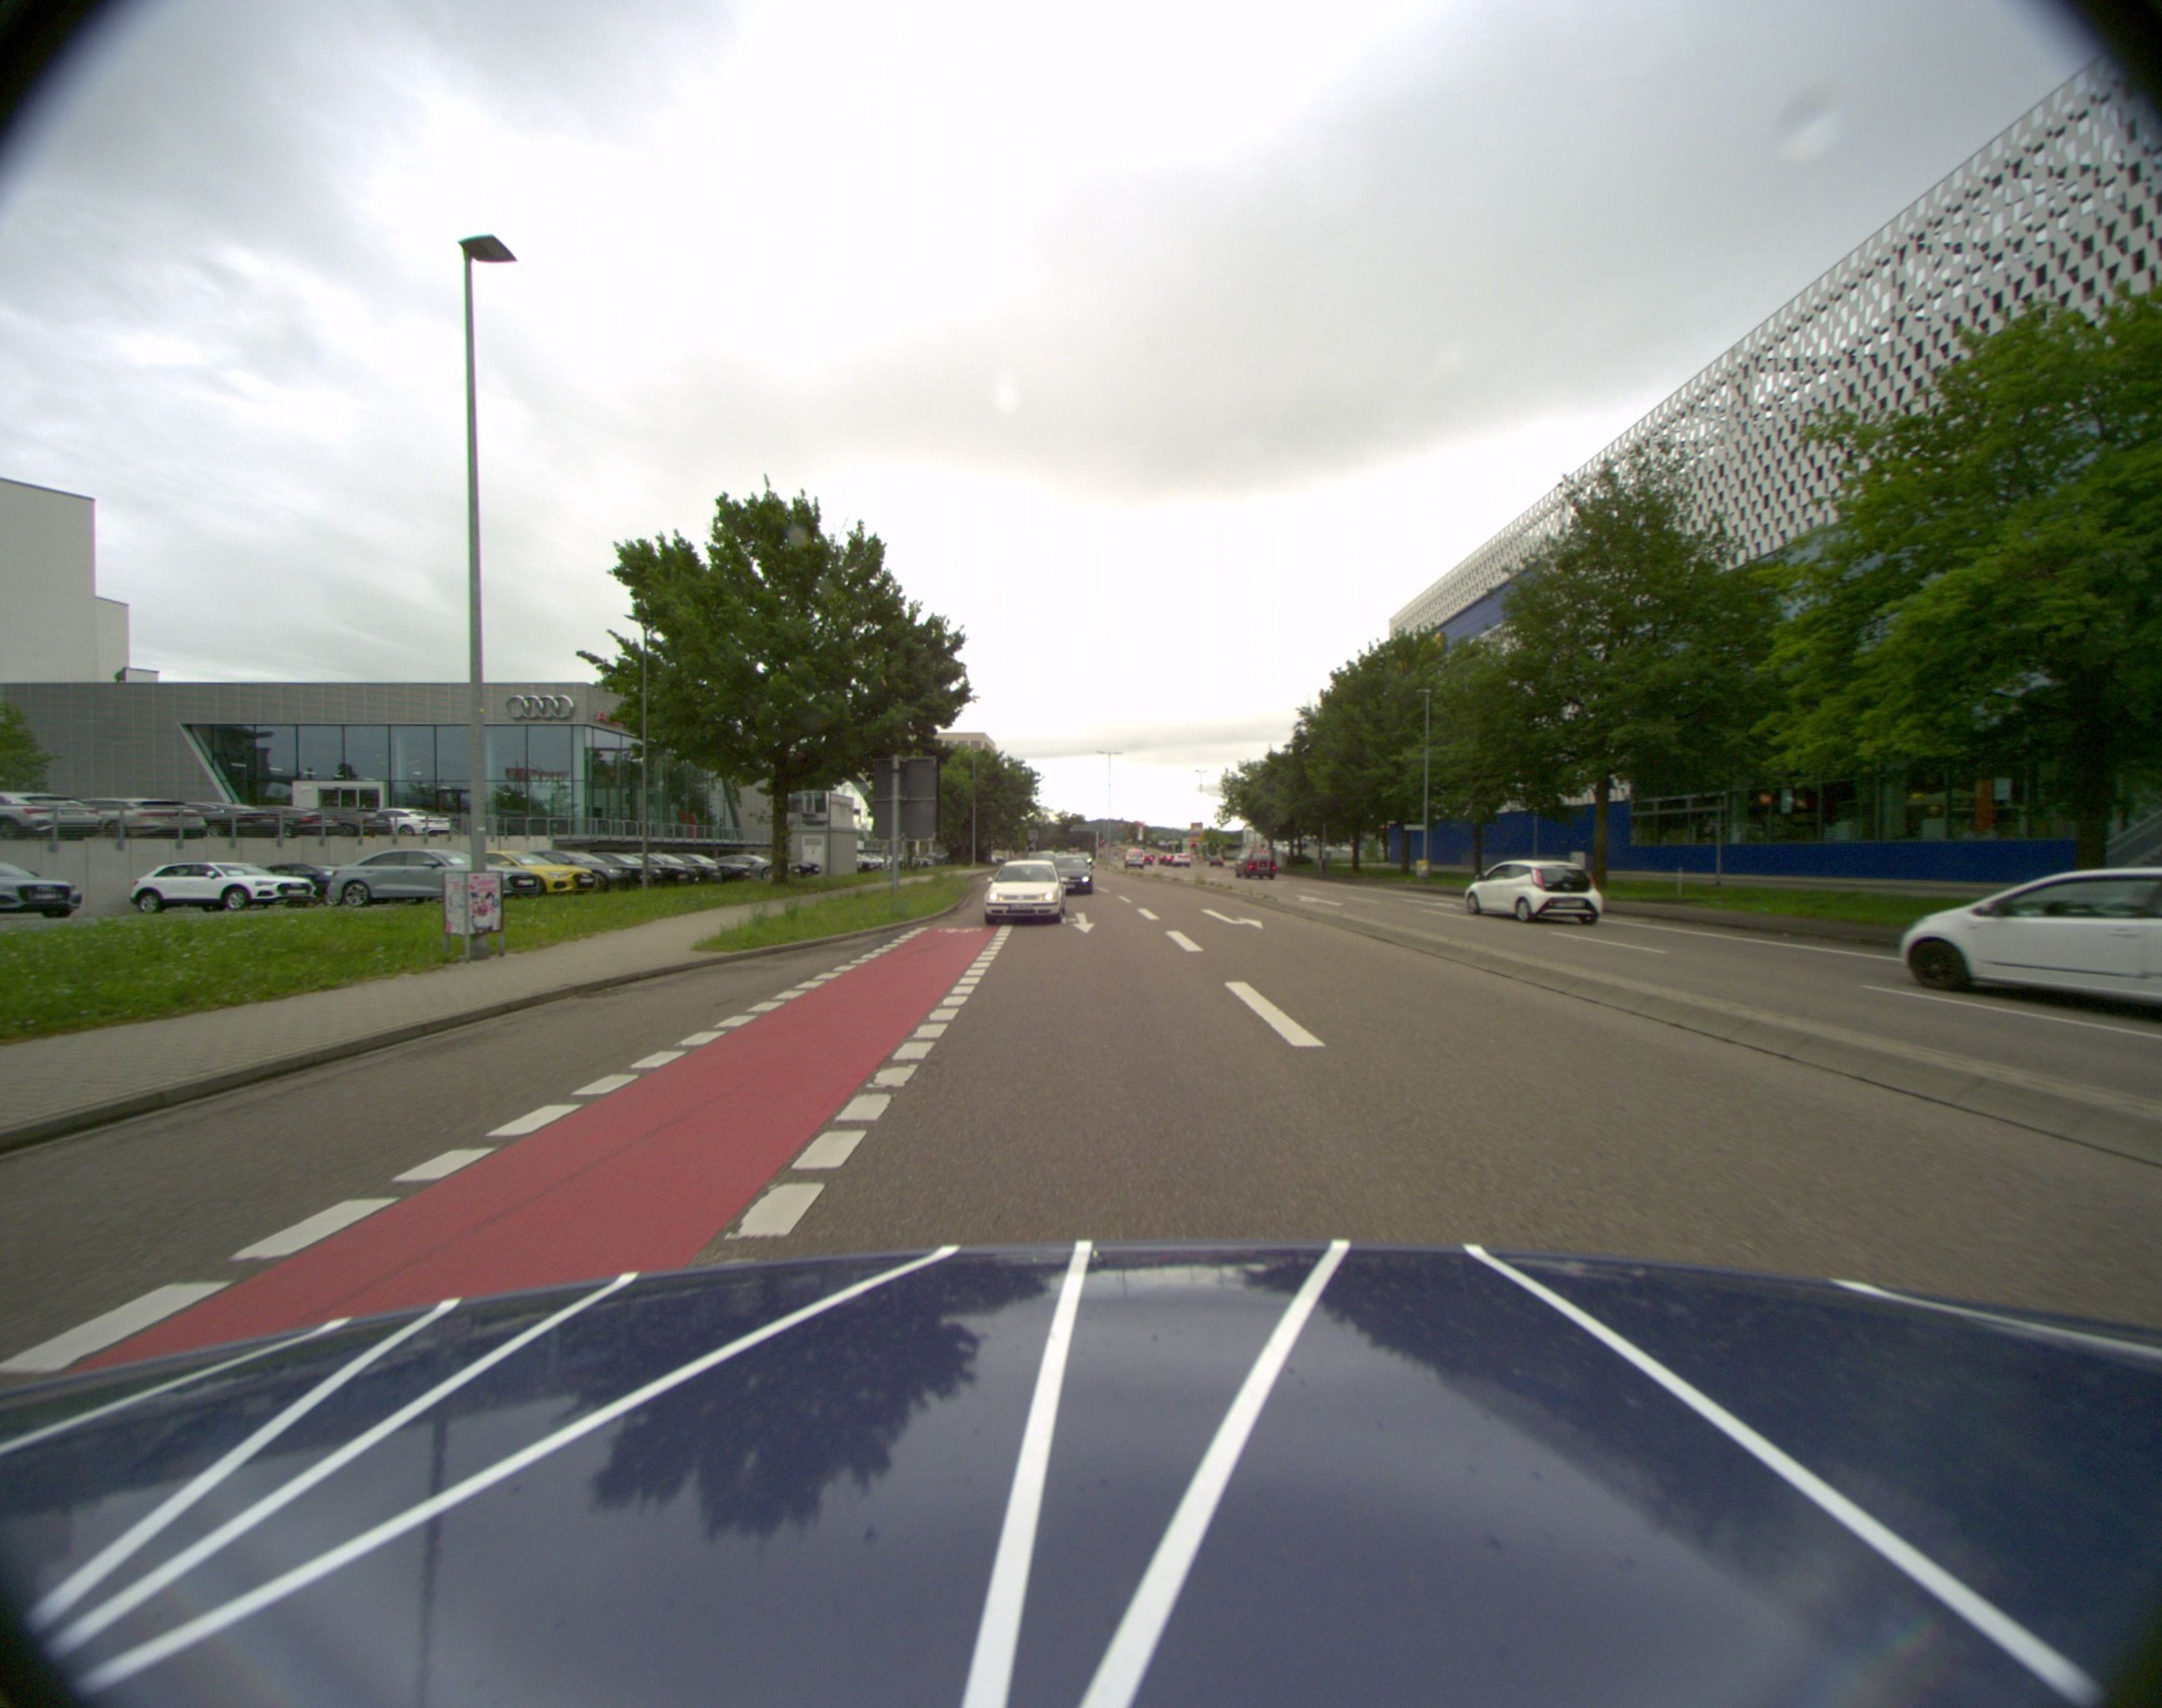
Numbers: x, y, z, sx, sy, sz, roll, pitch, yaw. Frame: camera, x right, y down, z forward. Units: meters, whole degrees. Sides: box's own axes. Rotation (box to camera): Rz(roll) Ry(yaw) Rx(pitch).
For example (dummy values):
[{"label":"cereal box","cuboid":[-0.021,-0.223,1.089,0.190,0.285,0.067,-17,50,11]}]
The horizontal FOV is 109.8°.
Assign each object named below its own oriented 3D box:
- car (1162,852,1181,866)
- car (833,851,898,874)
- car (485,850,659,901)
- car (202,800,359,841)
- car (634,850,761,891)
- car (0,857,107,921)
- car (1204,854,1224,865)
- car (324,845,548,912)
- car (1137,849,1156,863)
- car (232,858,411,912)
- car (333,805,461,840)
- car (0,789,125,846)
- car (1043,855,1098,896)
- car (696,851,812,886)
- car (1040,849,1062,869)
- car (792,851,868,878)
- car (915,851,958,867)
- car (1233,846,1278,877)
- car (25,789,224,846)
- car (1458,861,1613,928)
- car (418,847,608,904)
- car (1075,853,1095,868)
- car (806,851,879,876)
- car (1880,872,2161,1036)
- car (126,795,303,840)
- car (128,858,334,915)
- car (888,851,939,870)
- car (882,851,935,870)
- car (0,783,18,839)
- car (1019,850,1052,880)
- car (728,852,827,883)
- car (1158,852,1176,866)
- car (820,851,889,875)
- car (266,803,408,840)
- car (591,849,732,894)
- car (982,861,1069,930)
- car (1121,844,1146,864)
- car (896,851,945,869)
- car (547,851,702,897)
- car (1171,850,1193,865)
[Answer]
[{"label":"car","cuboid":[11.543,0.630,97.003,1.651,1.788,3.979,2,0,-5]},{"label":"car","cuboid":[-15.246,0.613,53.898,4.040,1.384,1.727,-3,0,1]},{"label":"car","cuboid":[-16.031,0.647,24.067,4.308,1.350,1.739,-3,0,1]},{"label":"car","cuboid":[-32.297,-1.344,30.761,4.308,1.355,1.832,-3,0,-1]},{"label":"car","cuboid":[-15.972,0.664,31.775,4.308,1.436,1.844,-3,0,1]},{"label":"car","cuboid":[-26.552,0.900,18.224,3.916,1.451,1.902,-3,0,1]},{"label":"car","cuboid":[18.051,0.717,103.477,1.651,1.382,3.979,2,0,-5]},{"label":"car","cuboid":[-16.323,0.605,19.376,4.198,1.423,1.739,-3,0,1]},{"label":"car","cuboid":[8.613,0.231,100.084,1.651,1.788,3.979,2,0,-5]},{"label":"car","cuboid":[-26.404,1.066,26.514,4.308,1.592,1.902,-3,0,1]},{"label":"car","cuboid":[-32.360,-1.461,36.046,4.308,1.355,1.832,-3,0,-1]},{"label":"car","cuboid":[-31.950,-1.053,22.702,4.308,1.424,1.864,-3,0,-1]},{"label":"car","cuboid":[-0.476,0.770,29.407,1.837,1.416,3.998,-1,0,-5]},{"label":"car","cuboid":[-15.803,0.689,36.910,4.763,1.416,1.902,-3,0,1]},{"label":"car","cuboid":[-2.809,0.415,71.512,1.995,1.838,4.103,0,0,-2]},{"label":"car","cuboid":[-15.337,0.618,46.528,4.040,1.384,1.727,-3,0,1]},{"label":"car","cuboid":[-14.746,0.537,77.667,4.040,1.384,1.727,-3,0,1]},{"label":"car","cuboid":[11.581,0.465,50.733,1.771,1.913,4.908,1,0,0]},{"label":"car","cuboid":[-31.838,-1.186,25.374,4.307,1.582,1.896,-3,0,3]},{"label":"car","cuboid":[10.919,0.912,18.558,1.628,1.414,3.611,1,0,1]},{"label":"car","cuboid":[-16.187,0.602,21.796,4.055,1.369,1.795,-3,0,2]},{"label":"car","cuboid":[0.418,0.651,75.469,1.836,1.416,4.000,-1,0,1]},{"label":"car","cuboid":[-15.326,0.606,48.949,4.040,1.384,1.727,-3,0,1]},{"label":"car","cuboid":[10.631,0.951,7.473,1.680,1.420,3.650,1,0,1]},{"label":"car","cuboid":[-31.835,-1.312,28.014,4.308,1.355,1.832,-3,0,-1]},{"label":"car","cuboid":[-26.582,0.990,23.873,4.308,1.592,1.902,-1,1,1]},{"label":"car","cuboid":[-14.703,0.567,66.764,4.040,1.384,1.727,-3,0,1]},{"label":"car","cuboid":[-14.659,0.564,64.570,4.040,1.384,1.727,-3,0,1]},{"label":"car","cuboid":[-31.852,-1.087,20.256,4.308,1.503,1.832,-3,0,-1]},{"label":"car","cuboid":[-2.641,0.593,43.636,1.788,1.637,3.998,0,0,-4]},{"label":"car","cuboid":[-15.677,0.683,39.338,4.308,1.309,1.864,-3,0,1]},{"label":"car","cuboid":[12.096,0.665,106.962,1.651,1.788,3.979,2,0,-5]},{"label":"car","cuboid":[-15.265,0.622,51.366,4.040,1.384,1.727,-3,0,1]},{"label":"car","cuboid":[-32.484,-1.393,33.270,4.308,1.355,1.832,-3,0,-1]},{"label":"car","cuboid":[-16.059,0.652,29.226,4.308,1.436,1.844,-3,0,1]},{"label":"car","cuboid":[-1.253,0.934,18.596,1.726,1.416,3.941,-1,0,1]},{"label":"car","cuboid":[4.756,-0.005,69.811,1.651,1.788,3.979,1,0,-5]},{"label":"car","cuboid":[-14.604,0.537,69.344,4.040,1.384,1.727,-3,0,1]},{"label":"car","cuboid":[-16.024,0.678,26.811,4.308,1.370,1.838,-3,0,1]},{"label":"car","cuboid":[12.039,0.393,90.857,1.728,1.602,3.979,2,0,-5]}]
